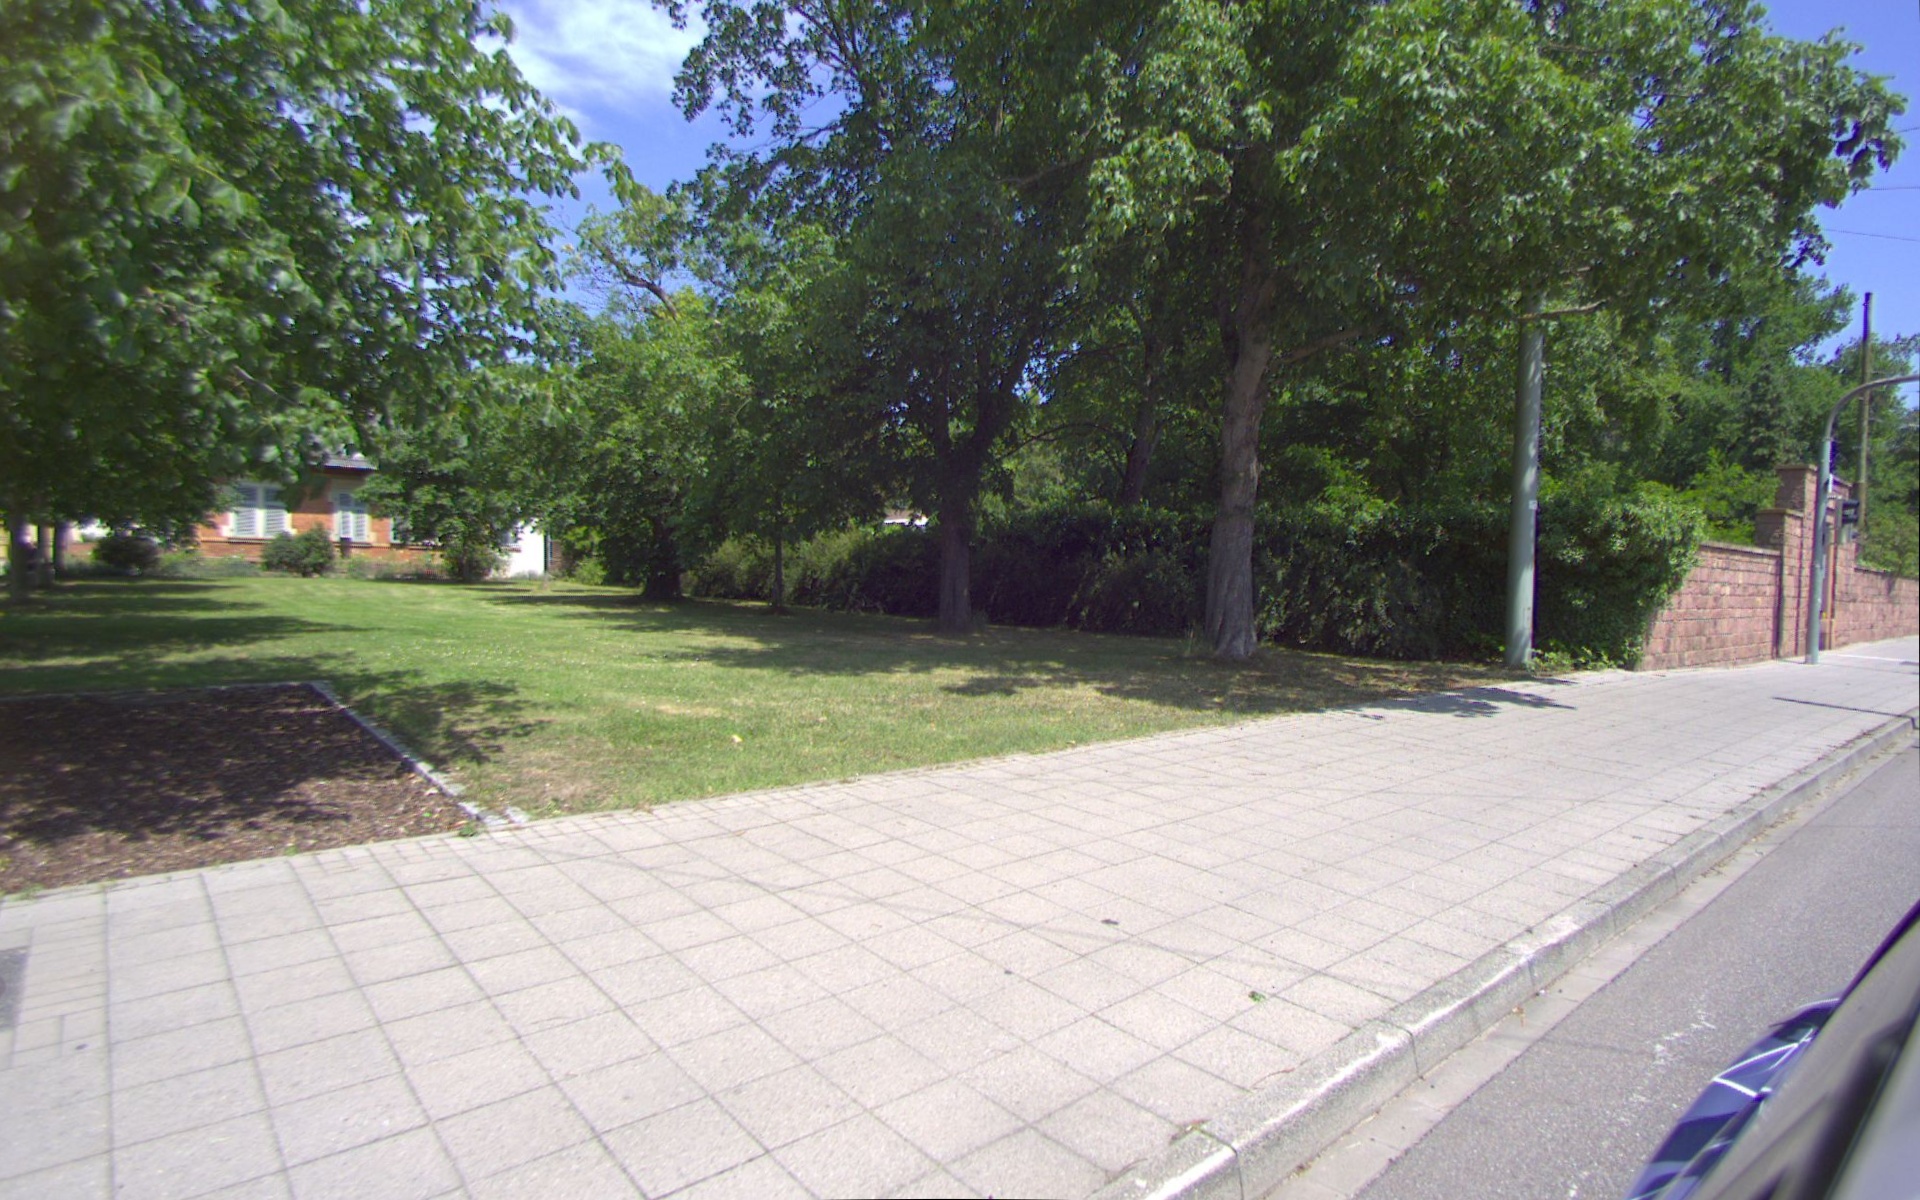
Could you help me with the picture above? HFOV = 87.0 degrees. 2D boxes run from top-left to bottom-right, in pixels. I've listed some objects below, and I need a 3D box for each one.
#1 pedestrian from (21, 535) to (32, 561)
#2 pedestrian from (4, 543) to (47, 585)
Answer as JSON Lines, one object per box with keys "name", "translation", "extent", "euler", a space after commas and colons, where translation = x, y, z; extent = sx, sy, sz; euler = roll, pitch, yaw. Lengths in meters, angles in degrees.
{"name": "pedestrian", "translation": [-54.486, -3.026, 59.076], "extent": [0.409, 1.506, 0.503], "euler": [1, 2, -41]}
{"name": "pedestrian", "translation": [-25.863, -1.006, 28.026], "extent": [0.816, 1.128, 0.795], "euler": [1, 2, -40]}
